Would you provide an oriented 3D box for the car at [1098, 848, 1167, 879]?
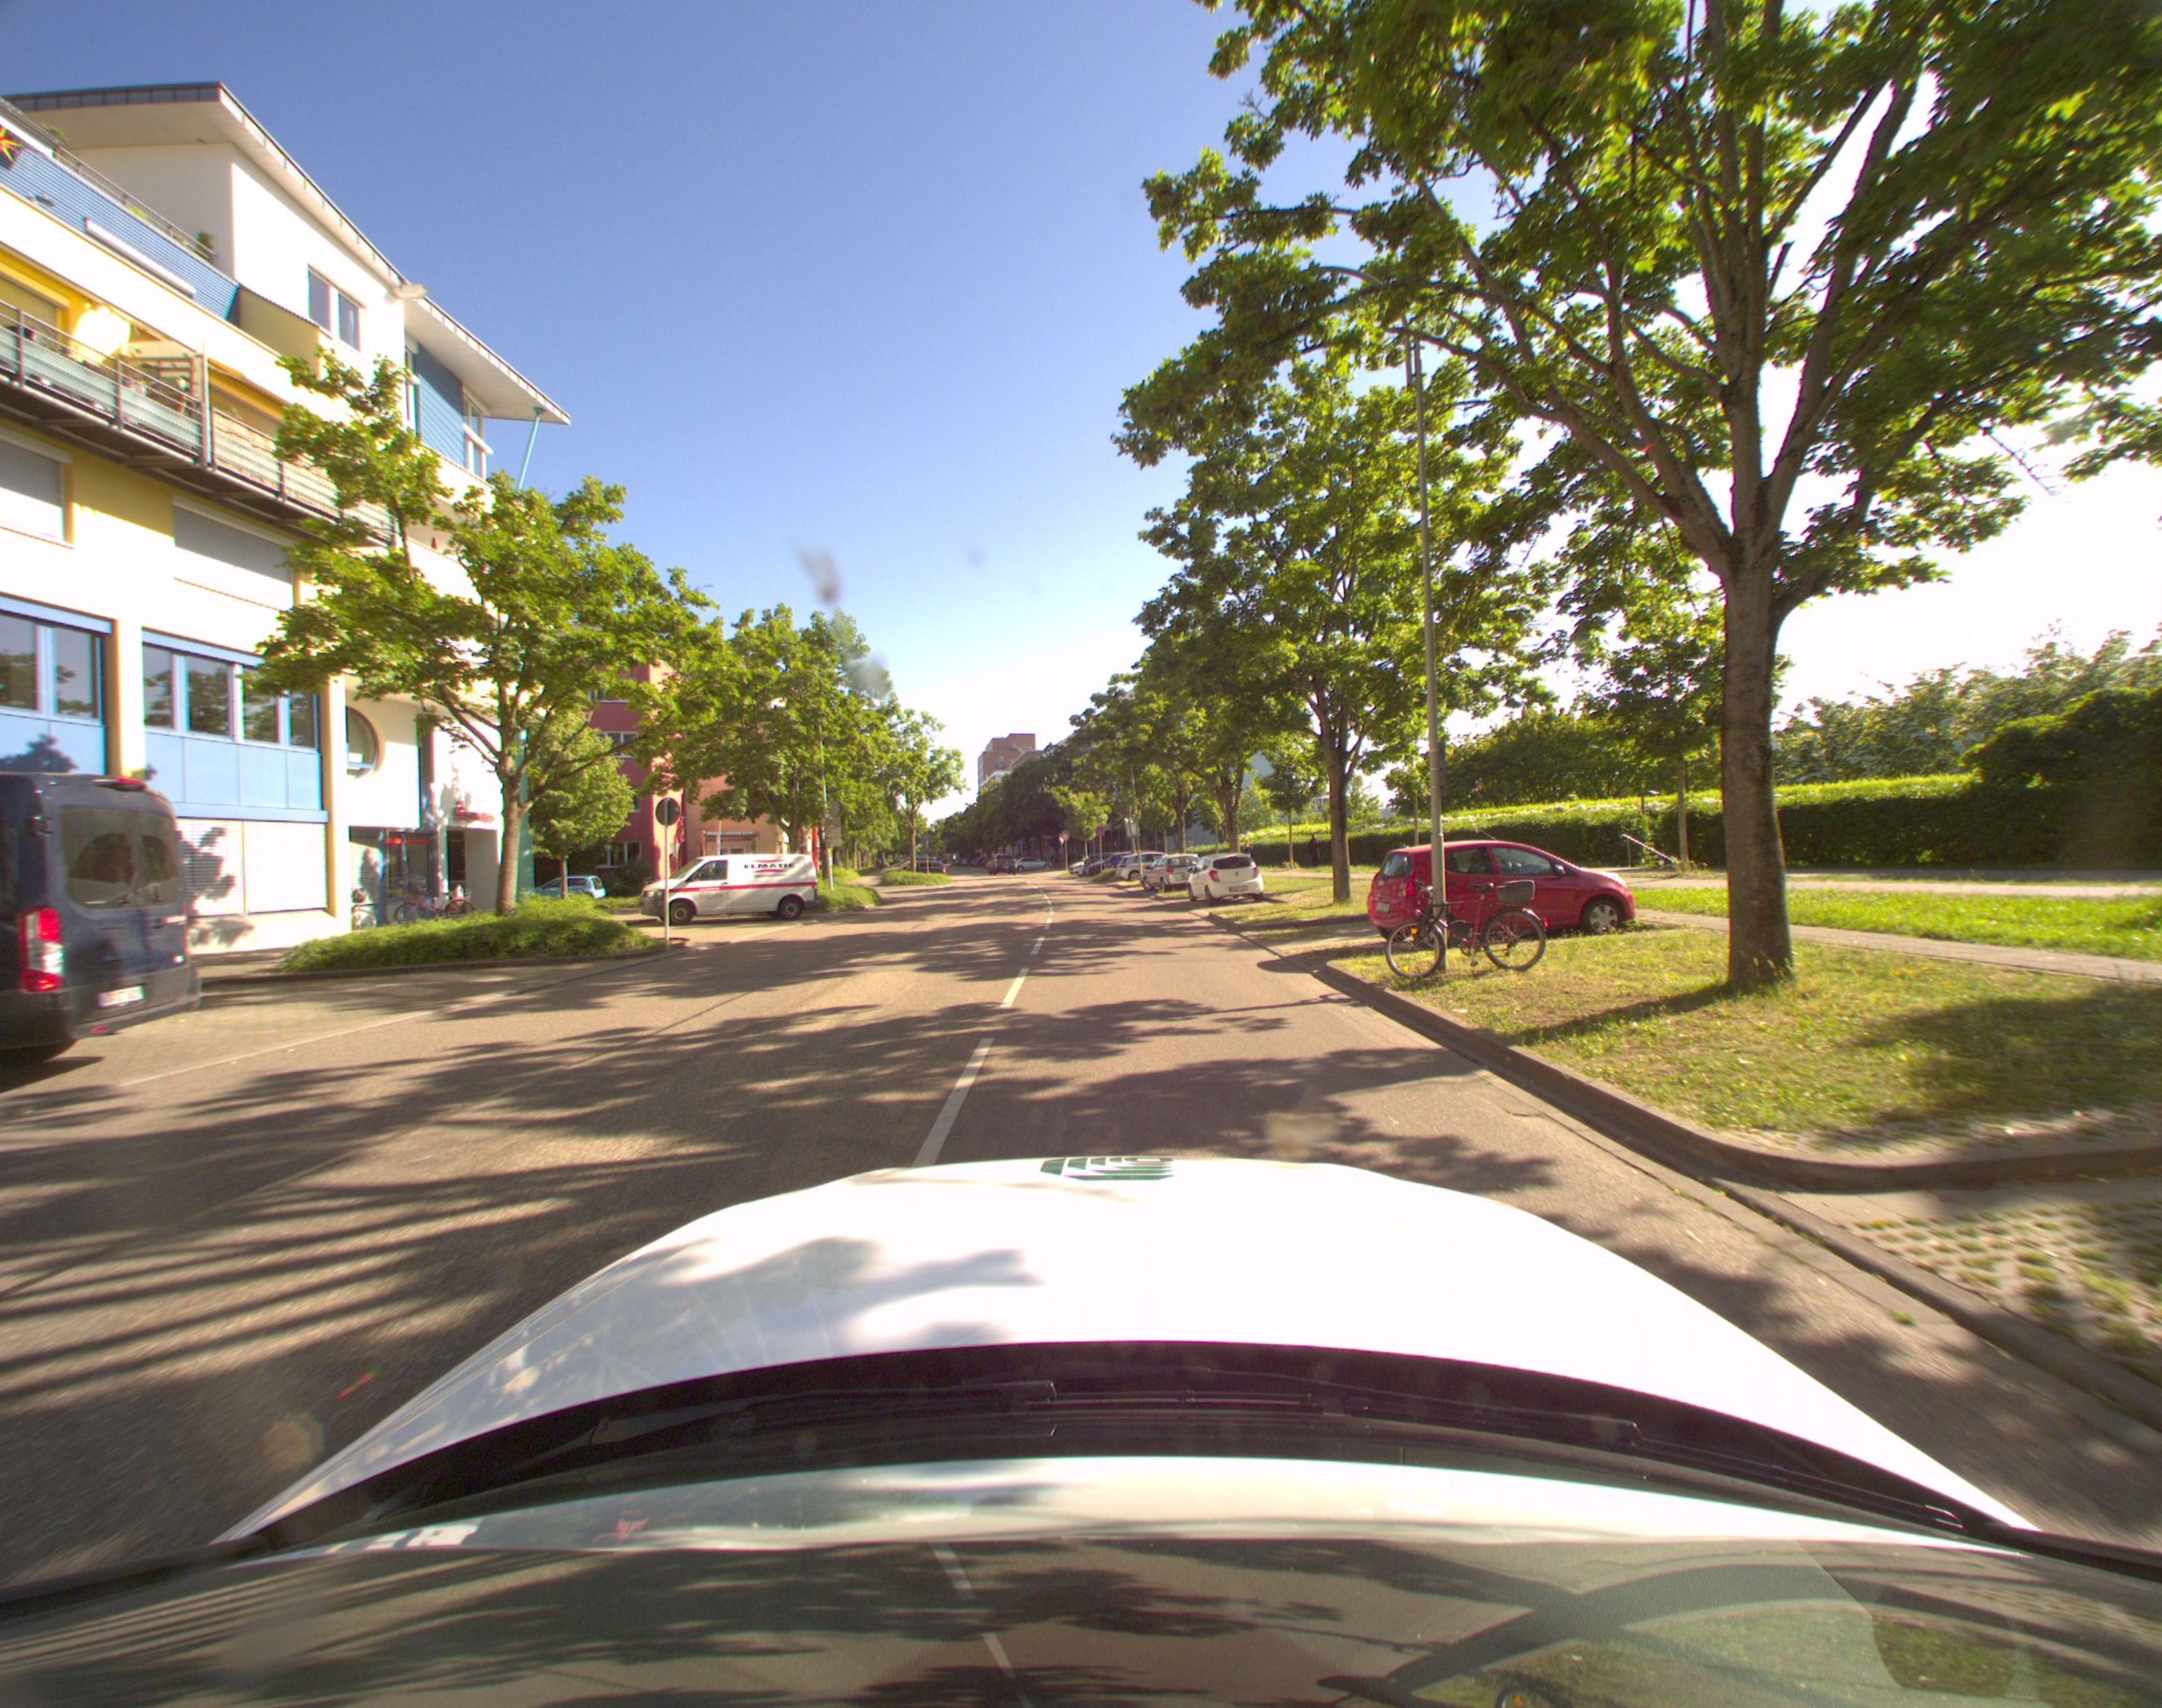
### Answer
[{"bbox_3d":[3.103,0.594,49.300,3.807,1.448,1.738,-6,0,-11],"label":"car"}]

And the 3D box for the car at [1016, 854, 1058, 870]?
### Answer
[{"bbox_3d":[-4.909,0.878,90.882,4.514,1.542,1.916,-4,0,-9],"label":"car"}]

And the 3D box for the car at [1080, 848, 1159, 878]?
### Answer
[{"bbox_3d":[2.440,0.558,51.943,4.554,1.515,2.149,-5,0,-12],"label":"car"}]

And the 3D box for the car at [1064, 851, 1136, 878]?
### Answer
[{"bbox_3d":[1.301,0.727,56.906,4.563,1.515,1.970,-4,0,-19],"label":"car"}]

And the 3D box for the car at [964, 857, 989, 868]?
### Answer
[{"bbox_3d":[-19.860,1.632,154.279,4.360,1.704,1.803,-4,0,-16],"label":"car"}]

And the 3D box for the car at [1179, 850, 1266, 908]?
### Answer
[{"bbox_3d":[4.247,0.717,24.989,1.640,1.493,3.759,-5,0,-5],"label":"car"}]

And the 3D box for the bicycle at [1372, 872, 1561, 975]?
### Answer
[{"bbox_3d":[4.156,0.754,8.883,1.739,0.991,0.532,-4,-1,11],"label":"bicycle"}]

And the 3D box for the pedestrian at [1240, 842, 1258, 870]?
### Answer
[{"bbox_3d":[9.354,0.114,45.306,0.607,1.542,0.934,-2,0,-10],"label":"pedestrian"}]

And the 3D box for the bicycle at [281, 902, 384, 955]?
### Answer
[{"bbox_3d":[-17.991,1.778,19.599,1.792,1.097,0.702,-3,0,0],"label":"bicycle"}]

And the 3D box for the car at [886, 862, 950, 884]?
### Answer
[{"bbox_3d":[-11.312,1.307,56.610,4.261,1.423,1.734,0,-1,-9],"label":"car"}]

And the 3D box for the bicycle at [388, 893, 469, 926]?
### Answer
[{"bbox_3d":[-19.077,1.617,23.849,1.811,0.872,0.487,0,-1,-33],"label":"bicycle"}]

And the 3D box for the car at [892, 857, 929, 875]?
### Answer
[{"bbox_3d":[-20.938,1.459,100.162,4.489,2.090,2.075,0,-1,-11],"label":"car"}]

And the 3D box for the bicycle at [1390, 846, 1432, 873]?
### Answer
[{"bbox_3d":[11.044,0.194,27.301,0.348,0.866,1.398,-3,0,-24],"label":"bicycle"}]

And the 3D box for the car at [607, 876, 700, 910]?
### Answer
[{"bbox_3d":[-22.966,2.075,43.899,3.987,1.447,1.796,-2,2,-13],"label":"car"}]

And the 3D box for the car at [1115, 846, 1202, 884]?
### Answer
[{"bbox_3d":[3.891,0.551,41.329,4.084,1.429,1.639,-6,0,-6],"label":"car"}]

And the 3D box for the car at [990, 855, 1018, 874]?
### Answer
[{"bbox_3d":[-6.809,0.936,71.731,1.995,1.640,3.982,0,-1,-13],"label":"car"}]

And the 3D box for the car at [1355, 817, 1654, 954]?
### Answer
[{"bbox_3d":[6.022,0.433,11.879,3.422,1.544,1.627,-5,0,1],"label":"car"}]

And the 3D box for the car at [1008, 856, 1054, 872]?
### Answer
[{"bbox_3d":[-5.310,1.052,86.227,4.582,1.475,1.739,-4,0,-12],"label":"car"}]

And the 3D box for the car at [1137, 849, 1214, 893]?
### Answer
[{"bbox_3d":[3.736,0.674,33.038,1.809,1.493,4.609,-5,0,-9],"label":"car"}]

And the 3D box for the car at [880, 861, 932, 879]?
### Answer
[{"bbox_3d":[-13.719,1.250,63.943,3.895,1.423,1.732,0,-1,-13],"label":"car"}]

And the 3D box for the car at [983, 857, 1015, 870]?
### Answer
[{"bbox_3d":[-11.093,1.280,110.266,3.976,1.420,1.702,-4,0,-15],"label":"car"}]

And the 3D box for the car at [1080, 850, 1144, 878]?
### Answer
[{"bbox_3d":[2.038,0.684,54.454,3.879,1.515,1.743,-5,0,-12],"label":"car"}]

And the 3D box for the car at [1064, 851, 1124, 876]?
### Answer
[{"bbox_3d":[0.973,0.685,59.498,3.960,1.515,1.691,-4,0,-19],"label":"car"}]

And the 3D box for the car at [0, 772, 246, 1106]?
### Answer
[{"bbox_3d":[-10.361,0.652,5.931,5.515,2.436,2.168,-1,0,-26],"label":"car"}]

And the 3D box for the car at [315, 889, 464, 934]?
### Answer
[{"bbox_3d":[-28.791,2.366,34.061,4.239,1.594,1.991,-1,0,-13],"label":"car"}]

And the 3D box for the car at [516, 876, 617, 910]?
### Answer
[{"bbox_3d":[-27.052,2.023,42.925,3.999,1.450,1.928,-2,2,-13],"label":"car"}]

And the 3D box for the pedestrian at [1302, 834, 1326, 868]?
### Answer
[{"bbox_3d":[11.066,-0.127,38.652,0.724,1.588,0.850,-2,0,-11],"label":"pedestrian"}]

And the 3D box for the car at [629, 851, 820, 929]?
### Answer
[{"bbox_3d":[-10.351,0.956,23.841,4.793,1.985,1.978,-1,0,-37],"label":"car"}]

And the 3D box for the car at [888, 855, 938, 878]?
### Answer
[{"bbox_3d":[-13.680,1.038,66.343,3.895,1.811,1.778,0,-1,-13],"label":"car"}]
